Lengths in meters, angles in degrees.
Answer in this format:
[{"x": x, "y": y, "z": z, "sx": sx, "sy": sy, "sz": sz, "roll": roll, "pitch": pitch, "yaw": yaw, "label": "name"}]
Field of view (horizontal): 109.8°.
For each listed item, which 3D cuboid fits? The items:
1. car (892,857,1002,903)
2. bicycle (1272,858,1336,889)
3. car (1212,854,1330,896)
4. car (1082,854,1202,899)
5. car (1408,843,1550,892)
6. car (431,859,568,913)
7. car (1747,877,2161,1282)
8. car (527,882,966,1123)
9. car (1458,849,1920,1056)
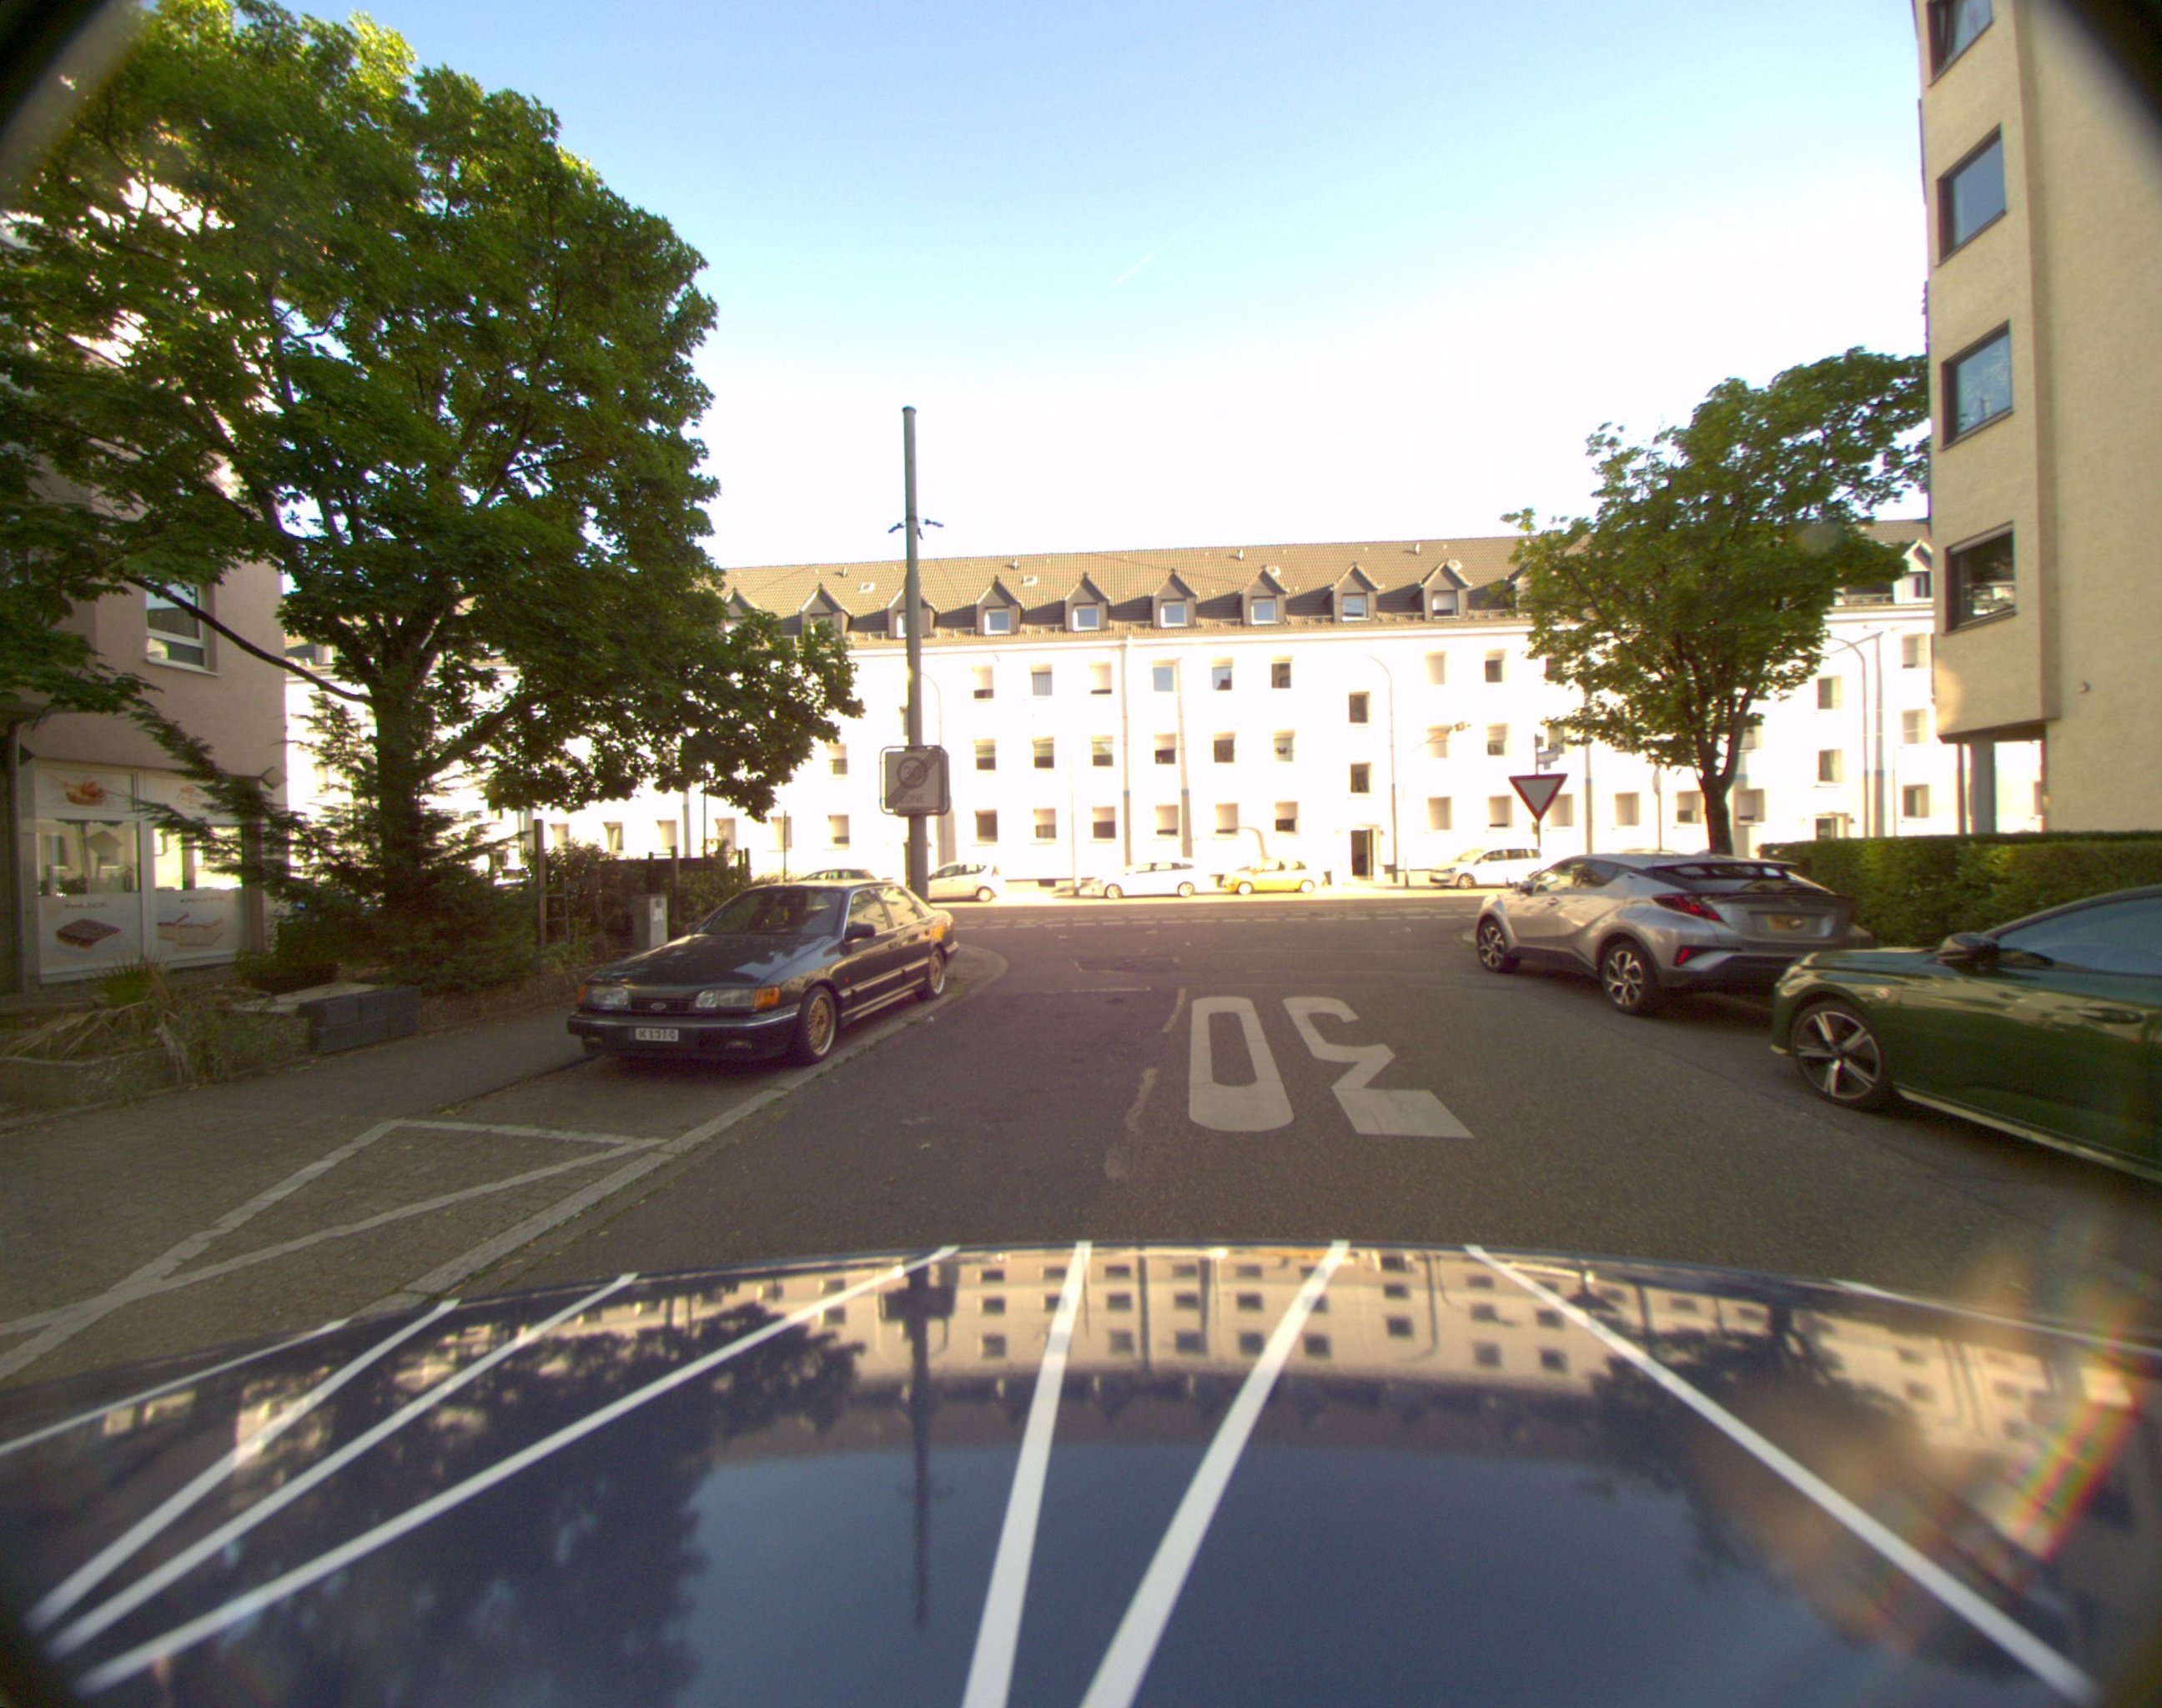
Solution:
[{"x": -5.207, "y": 1.011, "z": 29.933, "sx": 3.900, "sy": 1.563, "sz": 1.759, "roll": -1, "pitch": 4, "yaw": 3, "label": "car"}, {"x": 9.319, "y": 0.813, "z": 31.794, "sx": 2.325, "sy": 1.190, "sz": 1.099, "roll": -1, "pitch": 0, "yaw": 1, "label": "bicycle"}, {"x": 7.316, "y": 0.798, "z": 29.532, "sx": 4.197, "sy": 1.422, "sz": 1.518, "roll": -2, "pitch": 1, "yaw": 2, "label": "car"}, {"x": 2.357, "y": 0.850, "z": 29.648, "sx": 4.505, "sy": 1.562, "sz": 1.685, "roll": -1, "pitch": 2, "yaw": 2, "label": "car"}, {"x": 15.353, "y": 0.483, "z": 29.472, "sx": 4.623, "sy": 1.657, "sz": 1.759, "roll": -1, "pitch": 4, "yaw": -1, "label": "car"}, {"x": -23.521, "y": 1.266, "z": 30.837, "sx": 4.150, "sy": 1.960, "sz": 1.792, "roll": -1, "pitch": 2, "yaw": 3, "label": "car"}, {"x": 5.088, "y": 0.926, "z": 2.936, "sx": 1.756, "sy": 1.488, "sz": 4.137, "roll": 1, "pitch": 1, "yaw": 7, "label": "car"}, {"x": -2.627, "y": 1.072, "z": 7.389, "sx": 1.711, "sy": 1.380, "sz": 4.572, "roll": -1, "pitch": 1, "yaw": 8, "label": "car"}, {"x": 5.947, "y": 0.791, "z": 8.212, "sx": 1.907, "sy": 1.650, "sz": 4.000, "roll": 0, "pitch": 1, "yaw": 3, "label": "car"}]
